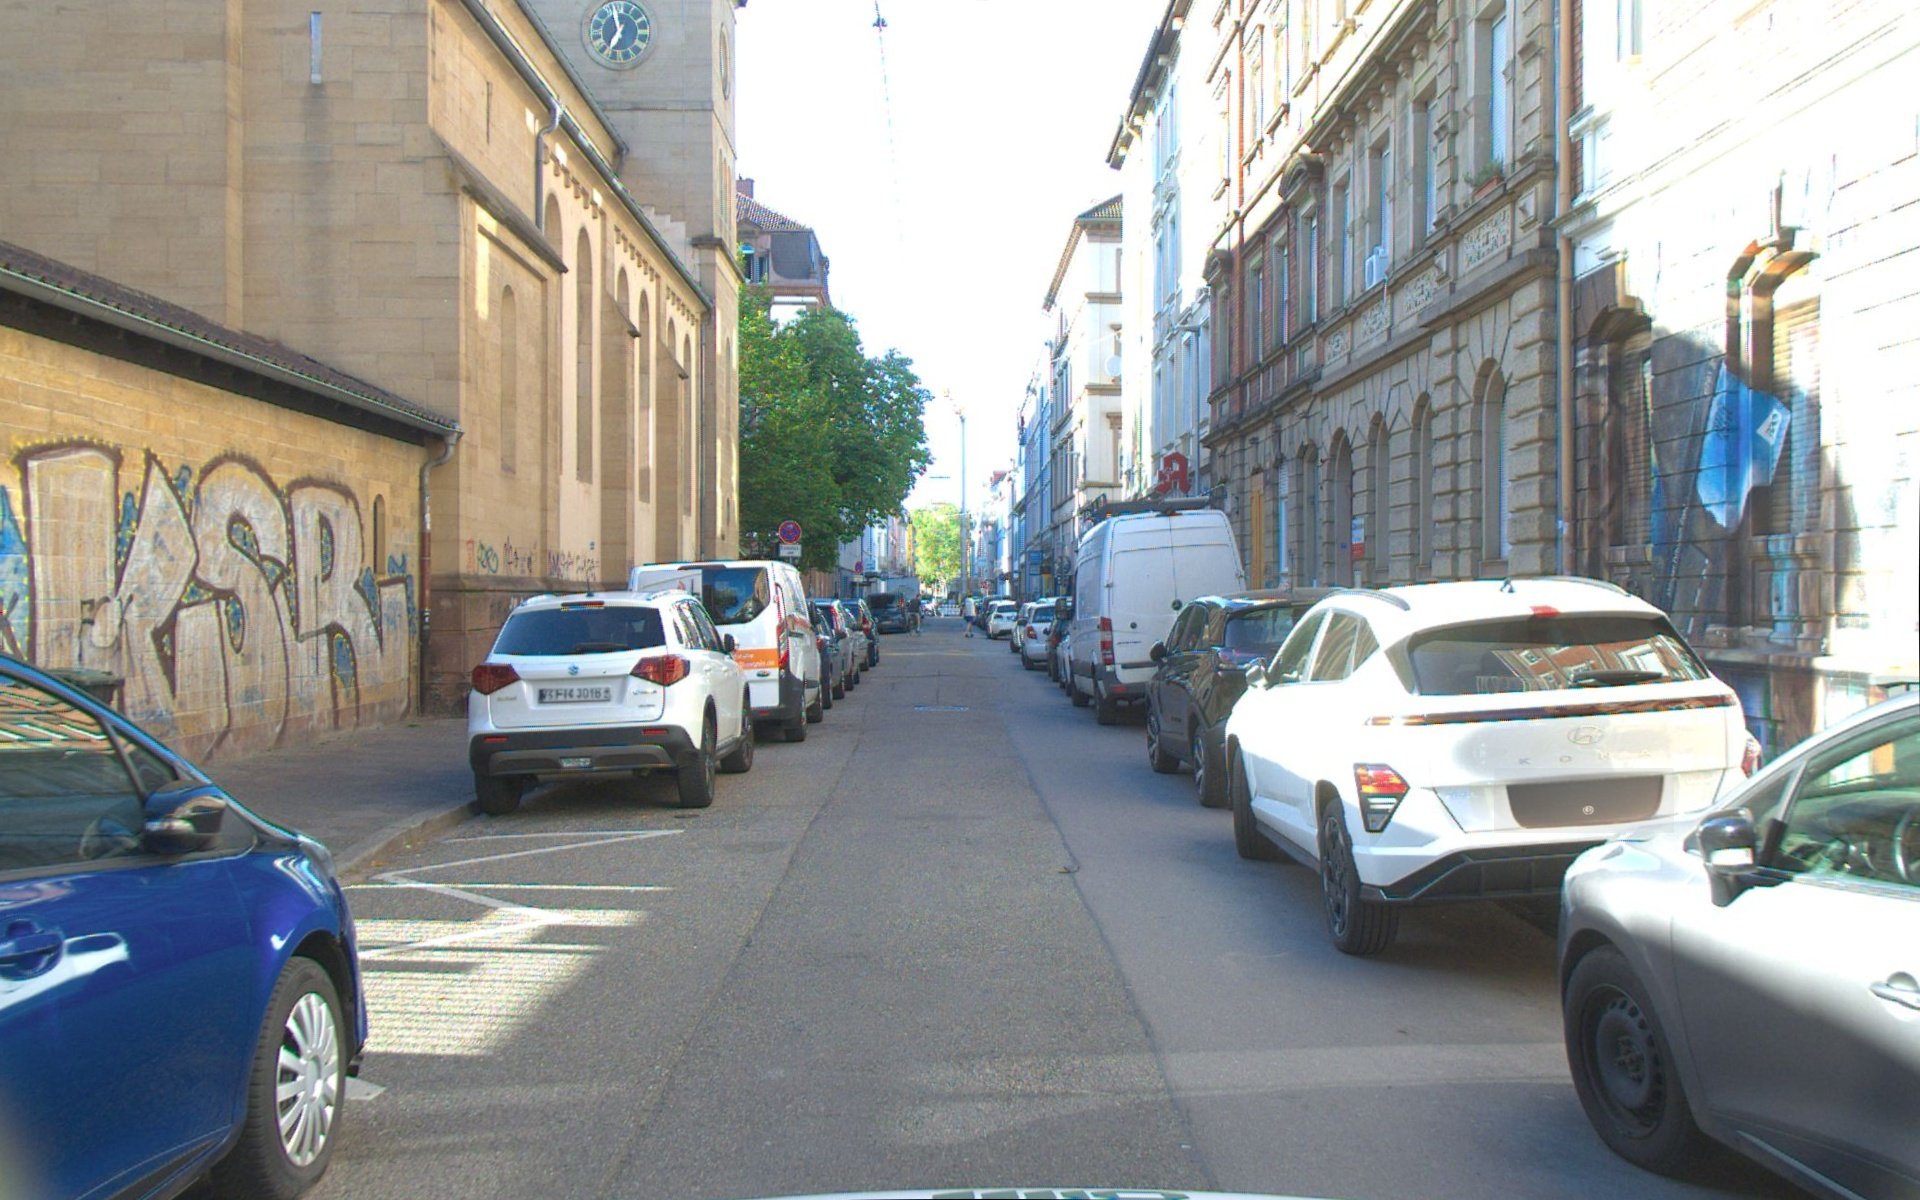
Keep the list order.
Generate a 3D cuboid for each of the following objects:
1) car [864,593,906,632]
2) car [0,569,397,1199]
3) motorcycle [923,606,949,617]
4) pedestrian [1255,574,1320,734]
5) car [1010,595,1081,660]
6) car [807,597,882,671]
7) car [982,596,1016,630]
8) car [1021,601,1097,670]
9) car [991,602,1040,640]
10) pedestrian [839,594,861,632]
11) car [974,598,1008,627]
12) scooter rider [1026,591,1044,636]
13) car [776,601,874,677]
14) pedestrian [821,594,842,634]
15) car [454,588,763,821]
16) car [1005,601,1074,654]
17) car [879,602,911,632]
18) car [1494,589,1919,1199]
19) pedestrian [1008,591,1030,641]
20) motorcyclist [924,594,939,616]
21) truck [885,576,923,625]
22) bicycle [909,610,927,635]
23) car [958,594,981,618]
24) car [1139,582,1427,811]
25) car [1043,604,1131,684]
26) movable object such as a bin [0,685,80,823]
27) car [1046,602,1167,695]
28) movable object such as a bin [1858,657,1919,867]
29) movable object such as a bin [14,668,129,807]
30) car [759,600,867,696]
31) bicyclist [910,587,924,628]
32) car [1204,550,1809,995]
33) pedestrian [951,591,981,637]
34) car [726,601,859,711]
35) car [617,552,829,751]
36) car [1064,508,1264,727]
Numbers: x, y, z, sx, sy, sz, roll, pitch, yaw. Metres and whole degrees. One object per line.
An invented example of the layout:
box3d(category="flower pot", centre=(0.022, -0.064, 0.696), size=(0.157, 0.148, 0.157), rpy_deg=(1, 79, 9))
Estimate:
box3d(category="car", centre=(-3.569, 0.603, 79.538), size=(1.837, 1.828, 4.000), rpy_deg=(0, 0, 0))
box3d(category="car", centre=(-2.439, 0.729, 2.798), size=(1.653, 1.502, 3.859), rpy_deg=(-2, 0, -1))
box3d(category="motorcycle", centre=(-2.272, 1.106, 153.963), size=(1.033, 0.997, 2.790), rpy_deg=(0, 0, -35))
box3d(category="pedestrian", centre=(3.819, 0.618, 19.263), size=(0.626, 1.803, 0.679), rpy_deg=(1, -1, 19))
box3d(category="car", centre=(2.264, 0.702, 44.653), size=(1.681, 1.674, 4.000), rpy_deg=(0, 0, 0))
box3d(category="car", centre=(-2.779, 0.793, 40.444), size=(1.567, 1.642, 3.807), rpy_deg=(-3, 0, -1))
box3d(category="car", centre=(2.059, 0.667, 88.133), size=(1.733, 1.771, 4.000), rpy_deg=(0, 0, 0))
box3d(category="car", centre=(2.292, 0.795, 39.070), size=(1.570, 1.531, 4.000), rpy_deg=(1, 0, 1))
box3d(category="car", centre=(2.225, 0.828, 67.630), size=(1.859, 1.514, 3.869), rpy_deg=(0, 0, 0))
box3d(category="pedestrian", centre=(-4.863, 0.570, 73.278), size=(0.910, 1.666, 0.806), rpy_deg=(0, 0, 0))
box3d(category="car", centre=(1.905, 0.747, 101.693), size=(1.953, 1.660, 4.000), rpy_deg=(2, 0, 0))
box3d(category="scooter rider", centre=(2.802, 0.487, 61.575), size=(0.636, 1.671, 0.684), rpy_deg=(0, 0, 5))
box3d(category="car", centre=(-2.802, 0.783, 34.993), size=(1.537, 1.422, 3.809), rpy_deg=(-4, 0, 2))
box3d(category="pedestrian", centre=(-5.883, 0.619, 75.734), size=(0.910, 1.817, 0.806), rpy_deg=(0, 0, 0))
box3d(category="car", centre=(-2.679, 0.731, 13.462), size=(1.706, 1.614, 3.868), rpy_deg=(0, 0, 0))
box3d(category="car", centre=(2.343, 0.788, 49.555), size=(1.682, 1.514, 3.867), rpy_deg=(0, 0, -3))
box3d(category="car", centre=(-3.976, 1.027, 101.534), size=(1.837, 1.828, 4.000), rpy_deg=(0, 0, 0))
box3d(category="car", centre=(2.648, 0.782, 3.420), size=(1.541, 1.552, 3.905), rpy_deg=(2, 0, -4))
box3d(category="pedestrian", centre=(2.236, 0.615, 62.595), size=(0.669, 1.875, 0.692), rpy_deg=(1, 0, -12))
box3d(category="motorcyclist", centre=(-2.704, 0.459, 154.559), size=(0.894, 2.049, 1.176), rpy_deg=(0, 0, -35))
box3d(category="truck", centre=(-3.919, 0.027, 117.931), size=(2.480, 3.339, 6.994), rpy_deg=(0, 0, 0))
box3d(category="bicycle", centre=(-1.820, 0.960, 71.135), size=(0.724, 1.062, 1.859), rpy_deg=(0, 0, 0))
box3d(category="car", centre=(0.808, 0.535, 144.138), size=(1.953, 2.049, 4.000), rpy_deg=(0, 0, 0))
box3d(category="car", centre=(2.575, 0.704, 14.052), size=(1.653, 1.671, 3.924), rpy_deg=(0, 0, -1))
box3d(category="car", centre=(2.580, 0.874, 34.327), size=(1.537, 1.521, 3.653), rpy_deg=(1, 0, 0))
box3d(category="movable object such as a bin", centre=(-5.961, 0.964, 10.491), size=(0.444, 0.821, 0.590), rpy_deg=(0, 0, -1))
box3d(category="car", centre=(2.570, 0.821, 29.928), size=(1.743, 1.512, 4.359), rpy_deg=(1, 0, 0))
box3d(category="movable object such as a bin", centre=(5.271, 0.858, 8.822), size=(0.538, 1.071, 0.601), rpy_deg=(-3, 0, -13))
box3d(category="movable object such as a bin", centre=(-6.005, 0.920, 11.196), size=(0.472, 0.891, 0.571), rpy_deg=(0, 0, -1))
box3d(category="car", centre=(-2.589, 0.805, 29.895), size=(1.639, 1.586, 3.999), rpy_deg=(-1, 0, -1))
box3d(category="bicyclist", centre=(-1.847, 0.324, 71.095), size=(0.593, 1.718, 0.885), rpy_deg=(0, 0, -1))
box3d(category="car", centre=(2.492, 0.707, 8.698), size=(1.771, 1.719, 4.214), rpy_deg=(2, -1, 0))
box3d(category="pedestrian", centre=(0.250, 0.576, 68.872), size=(0.999, 1.875, 0.776), rpy_deg=(1, 0, -34))
box3d(category="car", centre=(-2.447, 0.778, 24.942), size=(1.582, 1.477, 3.950), rpy_deg=(-2, 0, 0))
box3d(category="car", centre=(-2.617, 0.529, 19.297), size=(1.826, 1.991, 4.609), rpy_deg=(-2, 0, -1))
box3d(category="car", centre=(2.669, 0.204, 23.077), size=(2.026, 2.656, 5.887), rpy_deg=(0, 0, 0))
